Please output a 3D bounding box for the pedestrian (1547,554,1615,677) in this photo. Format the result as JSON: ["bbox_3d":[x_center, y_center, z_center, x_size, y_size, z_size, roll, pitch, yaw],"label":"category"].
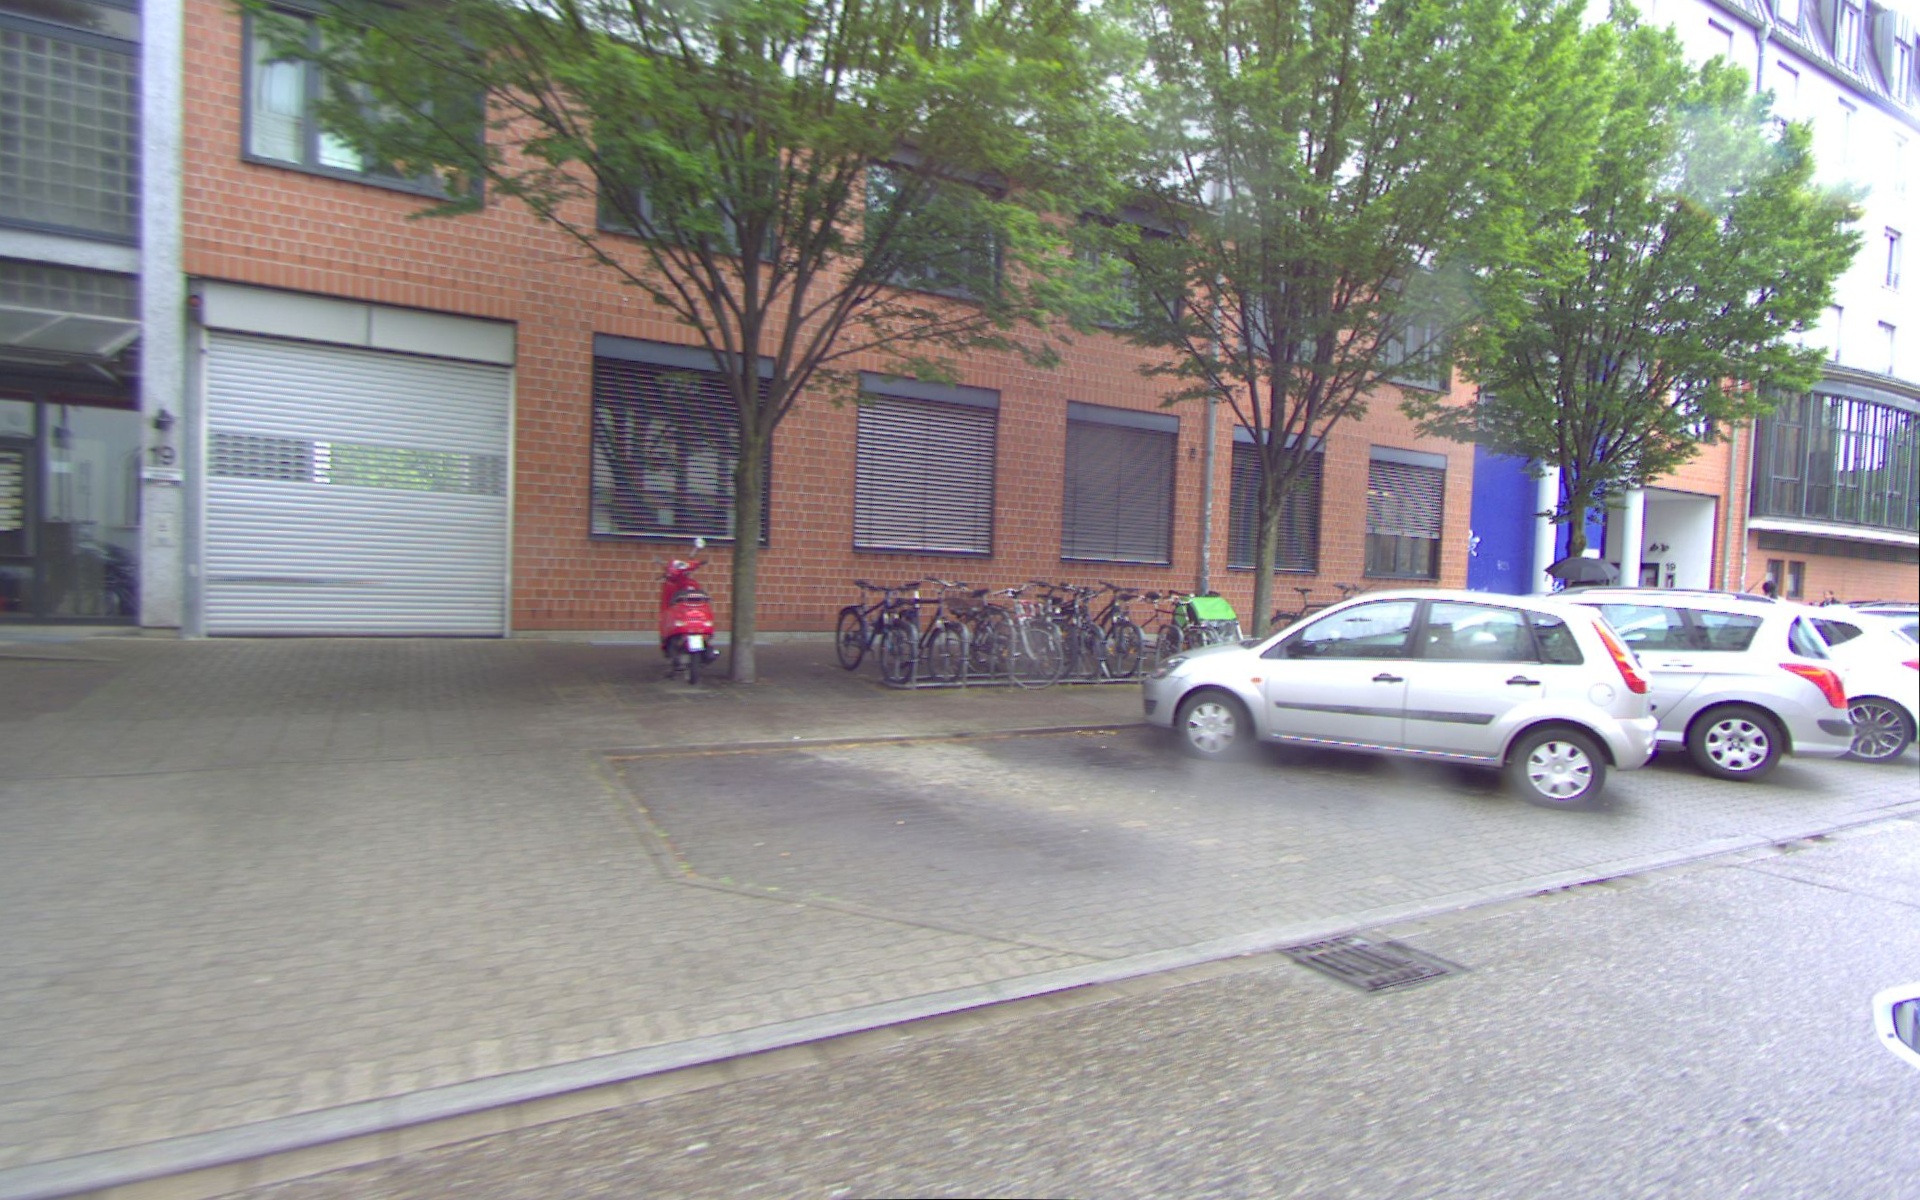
[{"bbox_3d":[9.010,0.218,14.580,0.427,1.730,0.609,3,1,-28],"label":"pedestrian"}]

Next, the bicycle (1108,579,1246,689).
[{"bbox_3d":[2.785,0.404,13.130,0.547,1.168,1.886,1,6,-30],"label":"bicycle"}]

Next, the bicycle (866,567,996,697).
[{"bbox_3d":[-0.370,0.304,11.169,0.547,1.168,1.886,1,6,-30],"label":"bicycle"}]

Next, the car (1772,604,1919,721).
[{"bbox_3d":[13.589,0.891,13.899,3.324,1.477,1.678,4,2,28],"label":"car"}]

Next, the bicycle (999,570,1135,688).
[{"bbox_3d":[1.246,0.308,12.161,0.547,1.168,1.886,1,6,-30],"label":"bicycle"}]

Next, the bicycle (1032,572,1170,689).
[{"bbox_3d":[1.679,0.336,12.341,0.547,1.168,1.886,1,6,-30],"label":"bicycle"}]

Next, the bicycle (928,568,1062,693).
[{"bbox_3d":[0.351,0.300,11.547,0.547,1.168,1.886,1,6,-30],"label":"bicycle"}]

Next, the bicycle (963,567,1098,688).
[{"bbox_3d":[0.786,0.279,11.854,0.547,1.168,1.886,1,6,-30],"label":"bicycle"}]

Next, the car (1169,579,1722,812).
[{"bbox_3d":[3.731,0.617,8.185,3.645,1.471,1.683,2,1,27],"label":"car"}]

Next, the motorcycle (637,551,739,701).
[{"bbox_3d":[-2.766,0.203,10.069,0.648,1.242,1.876,1,6,-25],"label":"motorcycle"}]

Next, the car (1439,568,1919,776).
[{"bbox_3d":[7.909,0.662,11.132,4.444,1.559,2.334,7,3,29],"label":"car"}]

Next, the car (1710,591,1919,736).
[{"bbox_3d":[11.316,0.758,12.158,3.326,1.562,1.677,4,2,31],"label":"car"}]

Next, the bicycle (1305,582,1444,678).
[{"bbox_3d":[6.129,0.411,14.973,0.547,1.168,1.886,1,6,-30],"label":"bicycle"}]

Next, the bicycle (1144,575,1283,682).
[{"bbox_3d":[3.339,0.343,13.405,0.547,1.168,1.886,1,6,-30],"label":"bicycle"}]

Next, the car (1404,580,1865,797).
[{"bbox_3d":[6.124,0.697,9.539,3.325,1.676,1.631,2,1,29],"label":"car"}]

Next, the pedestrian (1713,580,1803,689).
[{"bbox_3d":[13.601,0.575,17.135,0.746,1.776,0.823,1,4,-22],"label":"pedestrian"}]

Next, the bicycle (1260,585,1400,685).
[{"bbox_3d":[5.281,0.466,14.481,0.547,1.168,1.886,1,6,-30],"label":"bicycle"}]

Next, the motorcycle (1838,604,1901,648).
[{"bbox_3d":[26.586,0.762,29.345,2.093,1.190,0.749,1,4,-33],"label":"motorcycle"}]

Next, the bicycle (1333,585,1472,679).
[{"bbox_3d":[6.718,0.448,15.362,0.547,1.168,1.886,1,6,-30],"label":"bicycle"}]

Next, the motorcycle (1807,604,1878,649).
[{"bbox_3d":[24.787,0.747,28.201,2.089,1.190,0.750,1,4,-29],"label":"motorcycle"}]

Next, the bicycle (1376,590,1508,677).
[{"bbox_3d":[7.885,0.518,16.534,0.547,1.168,1.886,1,6,-30],"label":"bicycle"}]

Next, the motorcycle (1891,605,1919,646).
[{"bbox_3d":[30.007,0.816,31.155,1.747,1.190,0.572,3,4,-6],"label":"motorcycle"}]

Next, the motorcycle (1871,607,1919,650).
[{"bbox_3d":[28.541,0.859,30.131,2.081,1.190,0.753,2,4,-17],"label":"motorcycle"}]

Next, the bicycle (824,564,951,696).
[{"bbox_3d":[-0.834,0.275,10.926,0.547,1.168,1.886,1,6,-30],"label":"bicycle"}]

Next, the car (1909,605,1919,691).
[{"bbox_3d":[18.381,0.953,16.396,3.764,1.527,1.984,4,2,31],"label":"car"}]

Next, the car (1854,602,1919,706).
[{"bbox_3d":[15.935,0.894,15.142,3.327,1.527,1.677,4,2,31],"label":"car"}]

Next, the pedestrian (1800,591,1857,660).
[{"bbox_3d":[20.516,0.596,23.740,0.598,1.572,0.707,1,4,-22],"label":"pedestrian"}]
